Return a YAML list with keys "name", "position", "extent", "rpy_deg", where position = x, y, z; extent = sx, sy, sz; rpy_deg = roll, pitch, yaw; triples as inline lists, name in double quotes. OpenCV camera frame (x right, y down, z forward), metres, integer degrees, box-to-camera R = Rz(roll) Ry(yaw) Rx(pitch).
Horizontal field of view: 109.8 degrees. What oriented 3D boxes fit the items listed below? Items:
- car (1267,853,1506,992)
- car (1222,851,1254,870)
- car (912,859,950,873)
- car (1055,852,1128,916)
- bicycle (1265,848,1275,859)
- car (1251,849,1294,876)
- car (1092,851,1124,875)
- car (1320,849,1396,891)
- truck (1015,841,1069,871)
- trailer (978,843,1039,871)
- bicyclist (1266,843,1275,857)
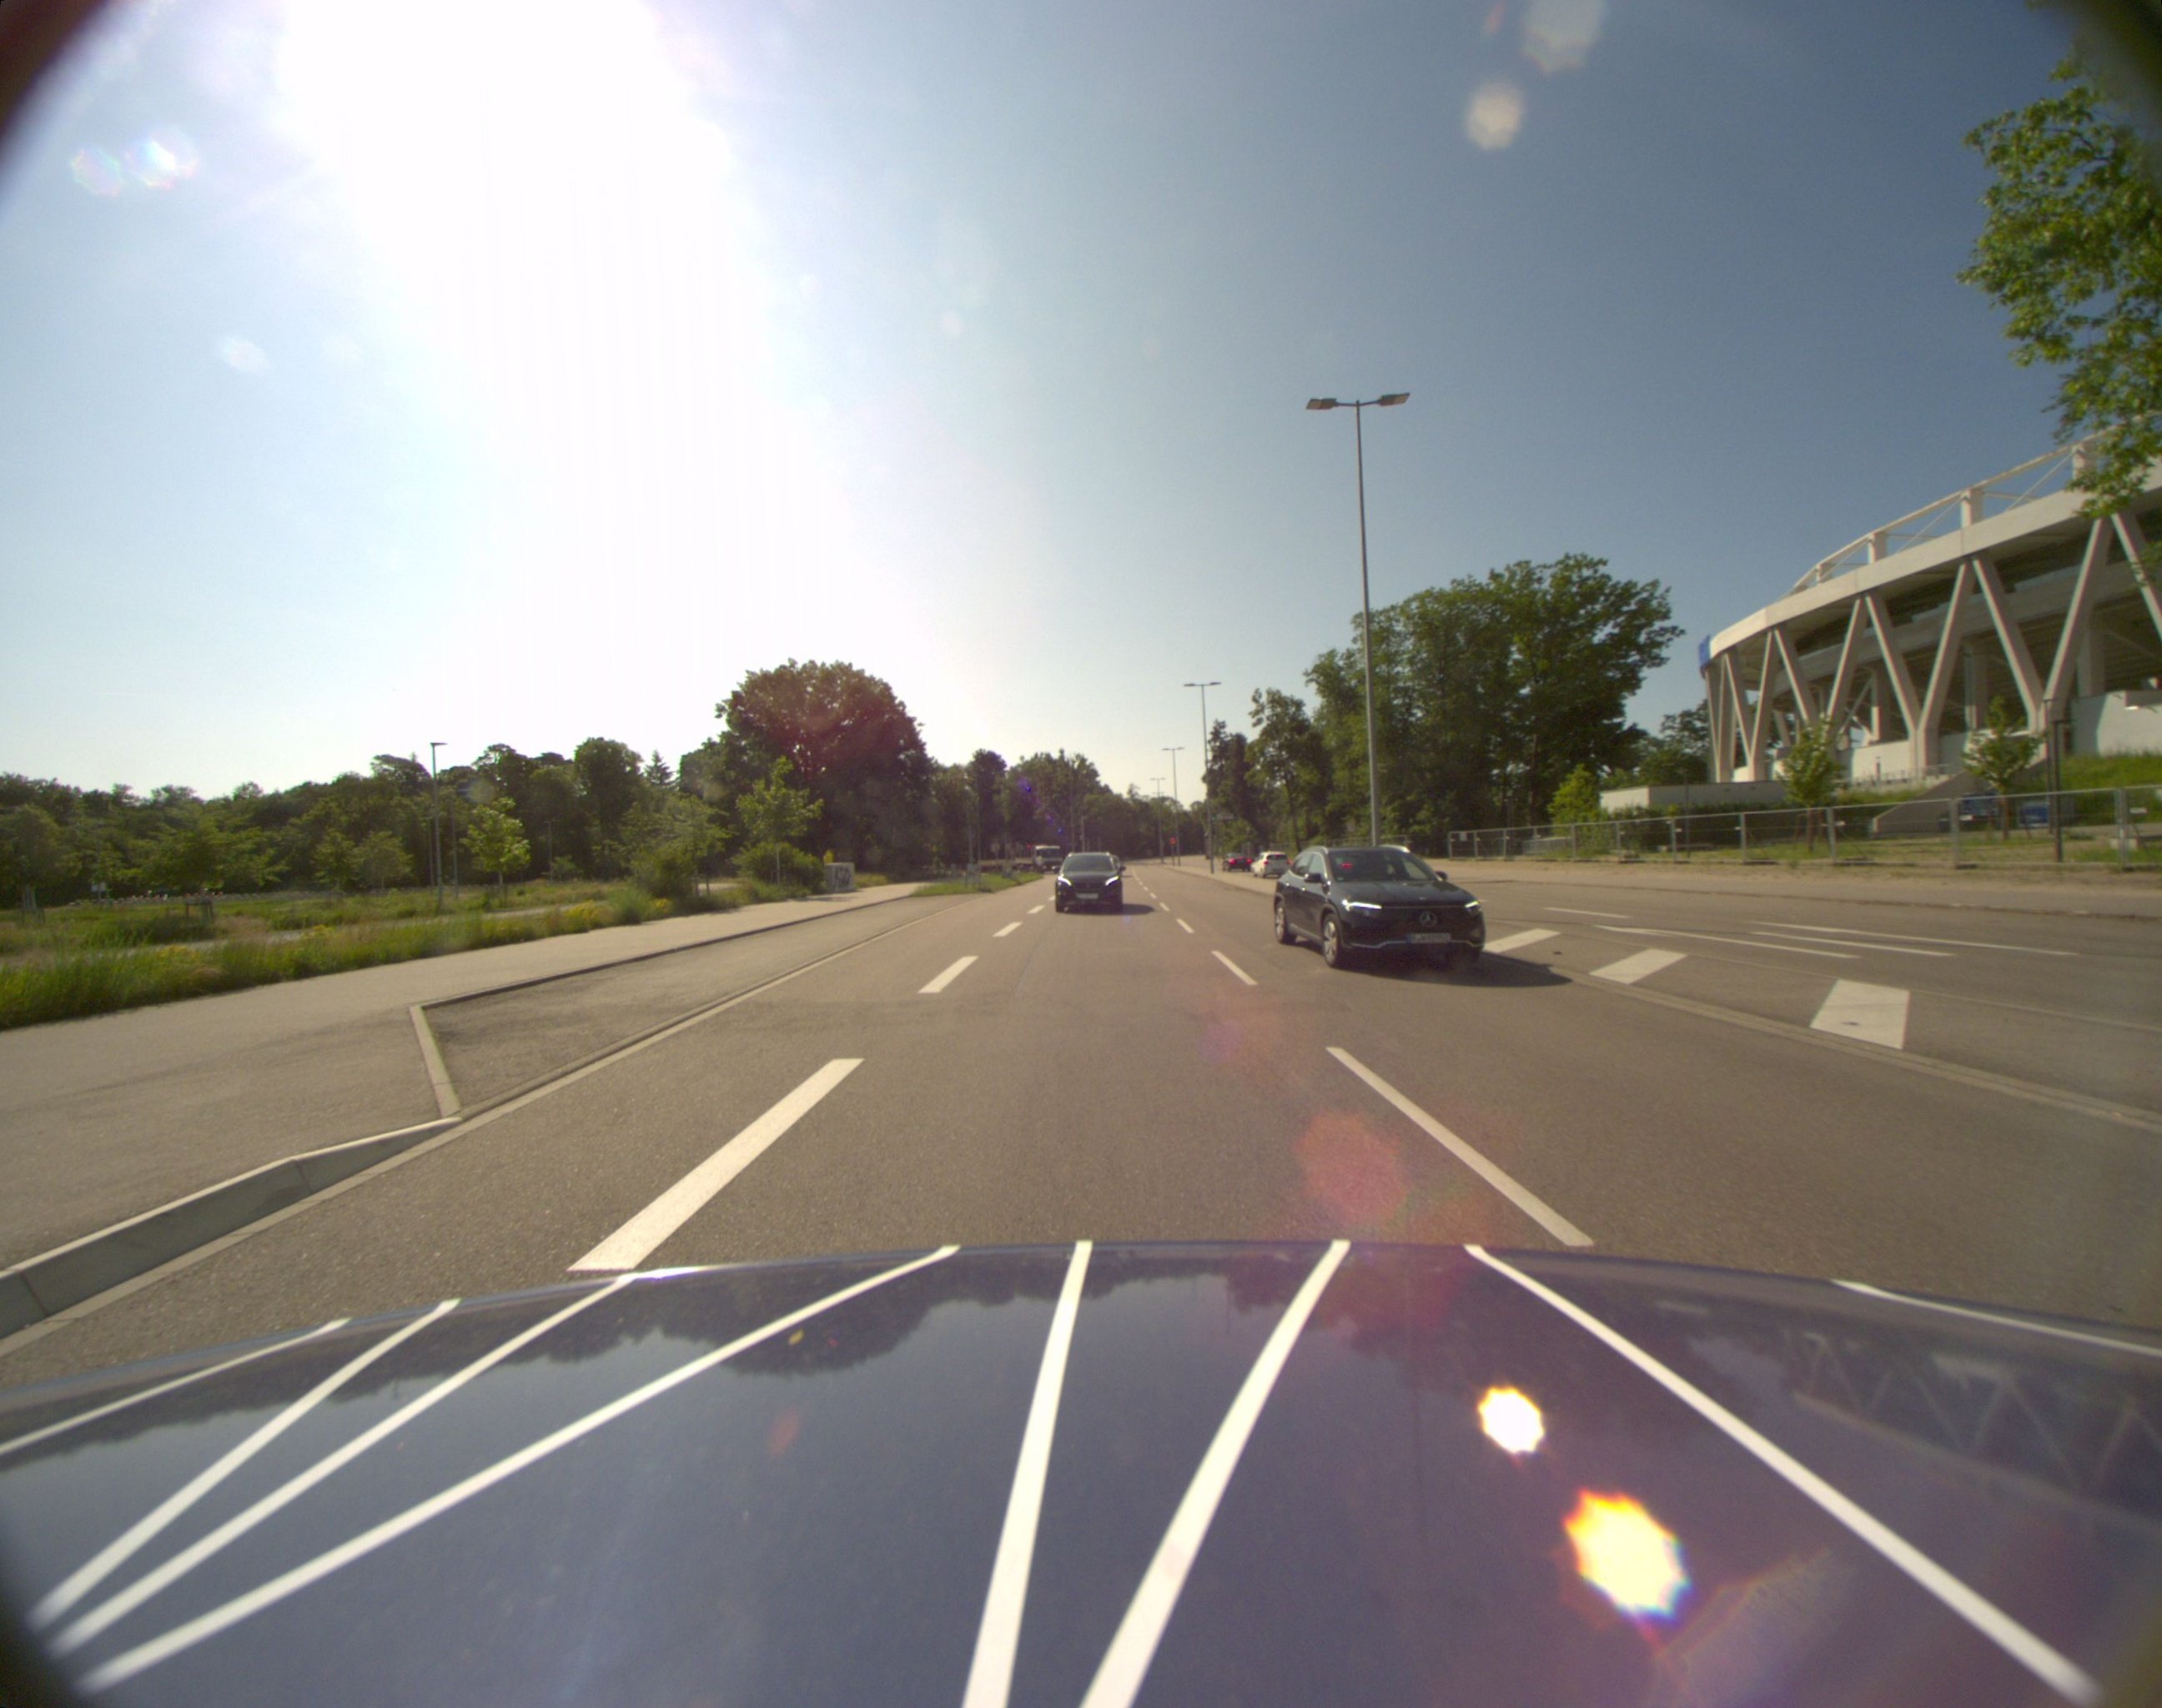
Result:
- name: "car"
  position: [4.070, 0.794, 10.962]
  extent: [1.809, 1.587, 4.273]
  rpy_deg: [0, 0, 1]
- name: "car"
  position: [12.097, 0.493, 58.755]
  extent: [1.815, 1.380, 4.162]
  rpy_deg: [0, 0, 2]
- name: "car"
  position: [-17.178, 1.382, 86.980]
  extent: [3.990, 1.475, 1.850]
  rpy_deg: [-2, 0, 30]
- name: "car"
  position: [0.397, 0.775, 21.914]
  extent: [1.702, 1.581, 4.320]
  rpy_deg: [-2, 0, 5]
- name: "bicycle"
  position: [20.931, -0.060, 84.031]
  extent: [0.661, 1.129, 1.879]
  rpy_deg: [-4, 0, 2]
- name: "car"
  position: [10.986, 0.457, 43.864]
  extent: [1.627, 1.458, 3.800]
  rpy_deg: [0, 0, 2]
- name: "car"
  position: [1.883, 0.586, 52.238]
  extent: [1.932, 1.499, 4.001]
  rpy_deg: [-2, 0, 5]
- name: "car"
  position: [10.549, 0.572, 29.241]
  extent: [1.757, 1.477, 3.948]
  rpy_deg: [0, 0, 4]
- name: "truck"
  position: [-3.875, 0.244, 73.512]
  extent: [2.684, 2.702, 6.190]
  rpy_deg: [-3, 0, -29]
- name: "trailer"
  position: [-7.571, 0.341, 78.566]
  extent: [2.708, 2.672, 6.871]
  rpy_deg: [-3, 0, -41]
- name: "bicyclist"
  position: [20.889, -0.410, 83.954]
  extent: [0.661, 1.459, 1.057]
  rpy_deg: [-4, 0, 2]
